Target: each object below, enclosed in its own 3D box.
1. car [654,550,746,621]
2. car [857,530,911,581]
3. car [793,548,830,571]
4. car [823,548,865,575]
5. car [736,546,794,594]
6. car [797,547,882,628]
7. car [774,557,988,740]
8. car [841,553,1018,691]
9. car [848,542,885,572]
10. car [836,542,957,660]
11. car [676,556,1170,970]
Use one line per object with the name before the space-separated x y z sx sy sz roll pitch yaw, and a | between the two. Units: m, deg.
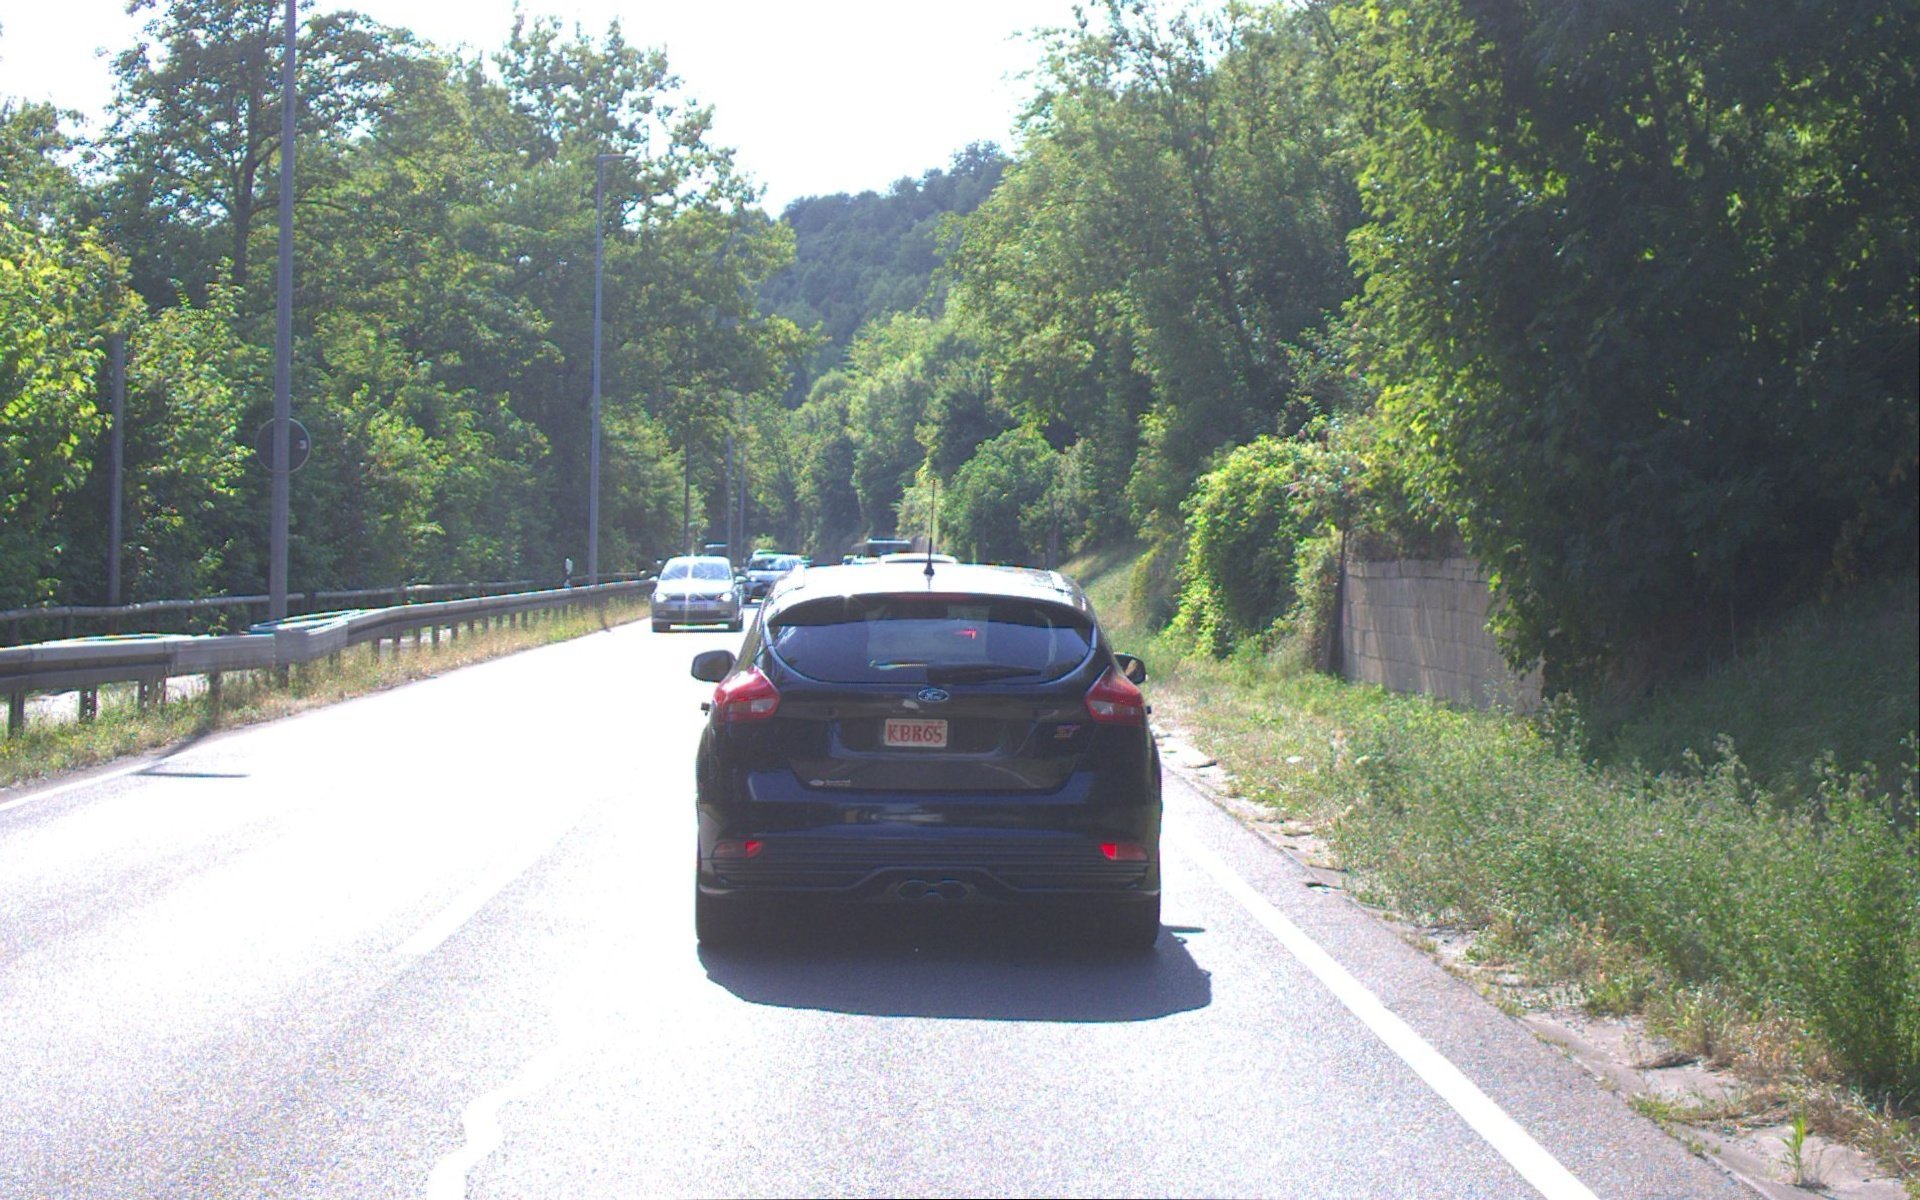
car | -5.166 -0.304 68.637 1.623 1.372 4.048 0 1 -1
car | -2.765 -1.617 124.113 1.863 1.774 4.001 0 1 -2
car | -9.933 -2.691 229.952 1.993 1.514 4.001 0 1 -10
car | -6.799 -2.267 200.793 1.993 1.514 4.001 0 1 -8
car | -6.089 -0.942 107.719 1.681 1.458 4.198 1 1 -1
car | -2.419 -0.283 69.904 1.630 1.590 4.000 0 1 -1
car | -0.608 0.357 29.071 1.661 1.413 4.000 0 1 1
car | -0.340 0.200 37.108 1.804 1.387 4.000 0 1 -1
car | -4.756 -2.181 174.631 1.819 1.514 4.000 0 1 -1
car | -0.886 -0.015 48.665 1.630 1.590 4.000 0 1 -1
car | -0.158 0.563 14.280 1.739 1.451 4.000 1 1 -1
